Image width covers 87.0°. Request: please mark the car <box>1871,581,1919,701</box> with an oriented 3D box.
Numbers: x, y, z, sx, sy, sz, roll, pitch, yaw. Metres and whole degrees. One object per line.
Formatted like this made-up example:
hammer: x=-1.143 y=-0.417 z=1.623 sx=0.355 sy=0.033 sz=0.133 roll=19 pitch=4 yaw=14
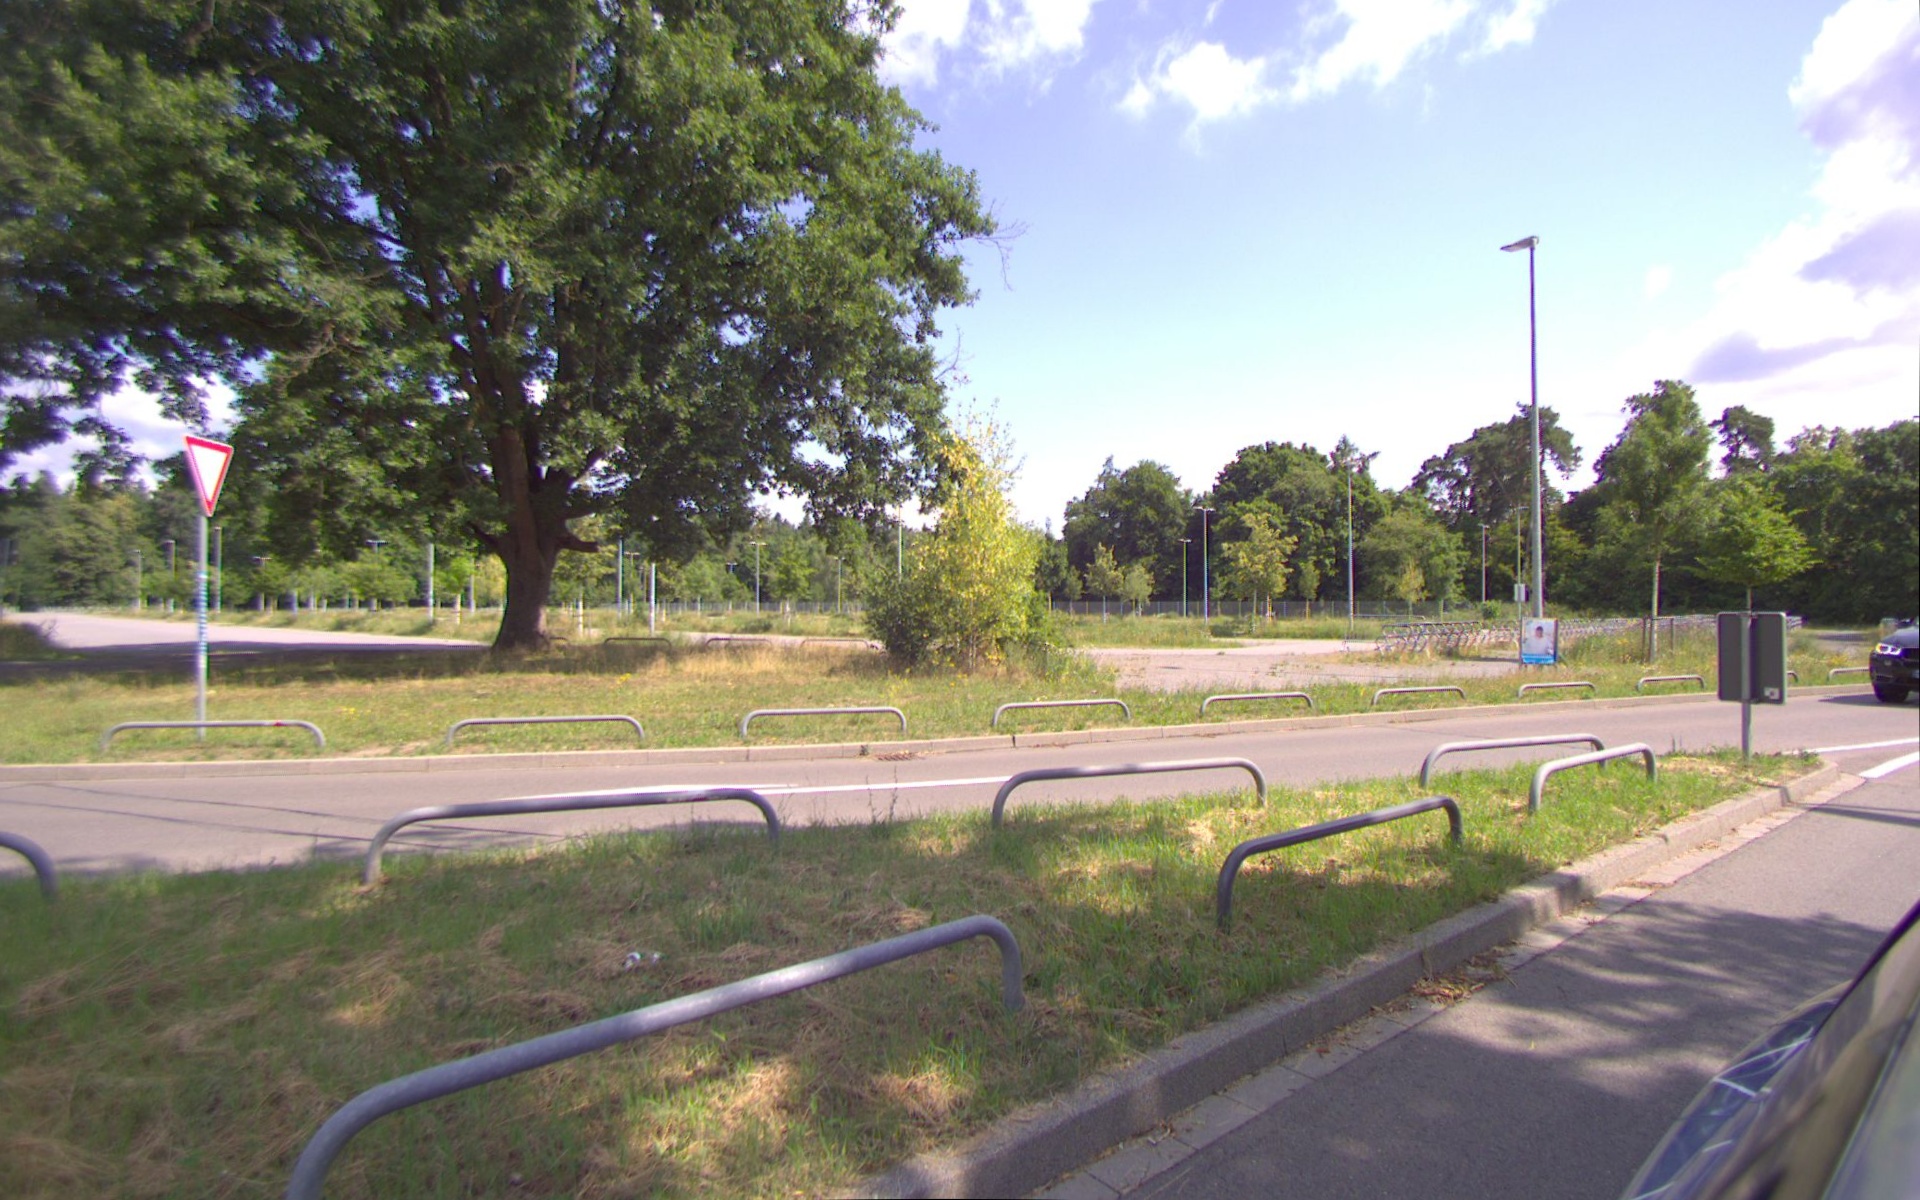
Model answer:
car: x=16.628 y=0.572 z=15.859 sx=4.612 sy=1.787 sz=1.984 roll=-1 pitch=0 yaw=-27
